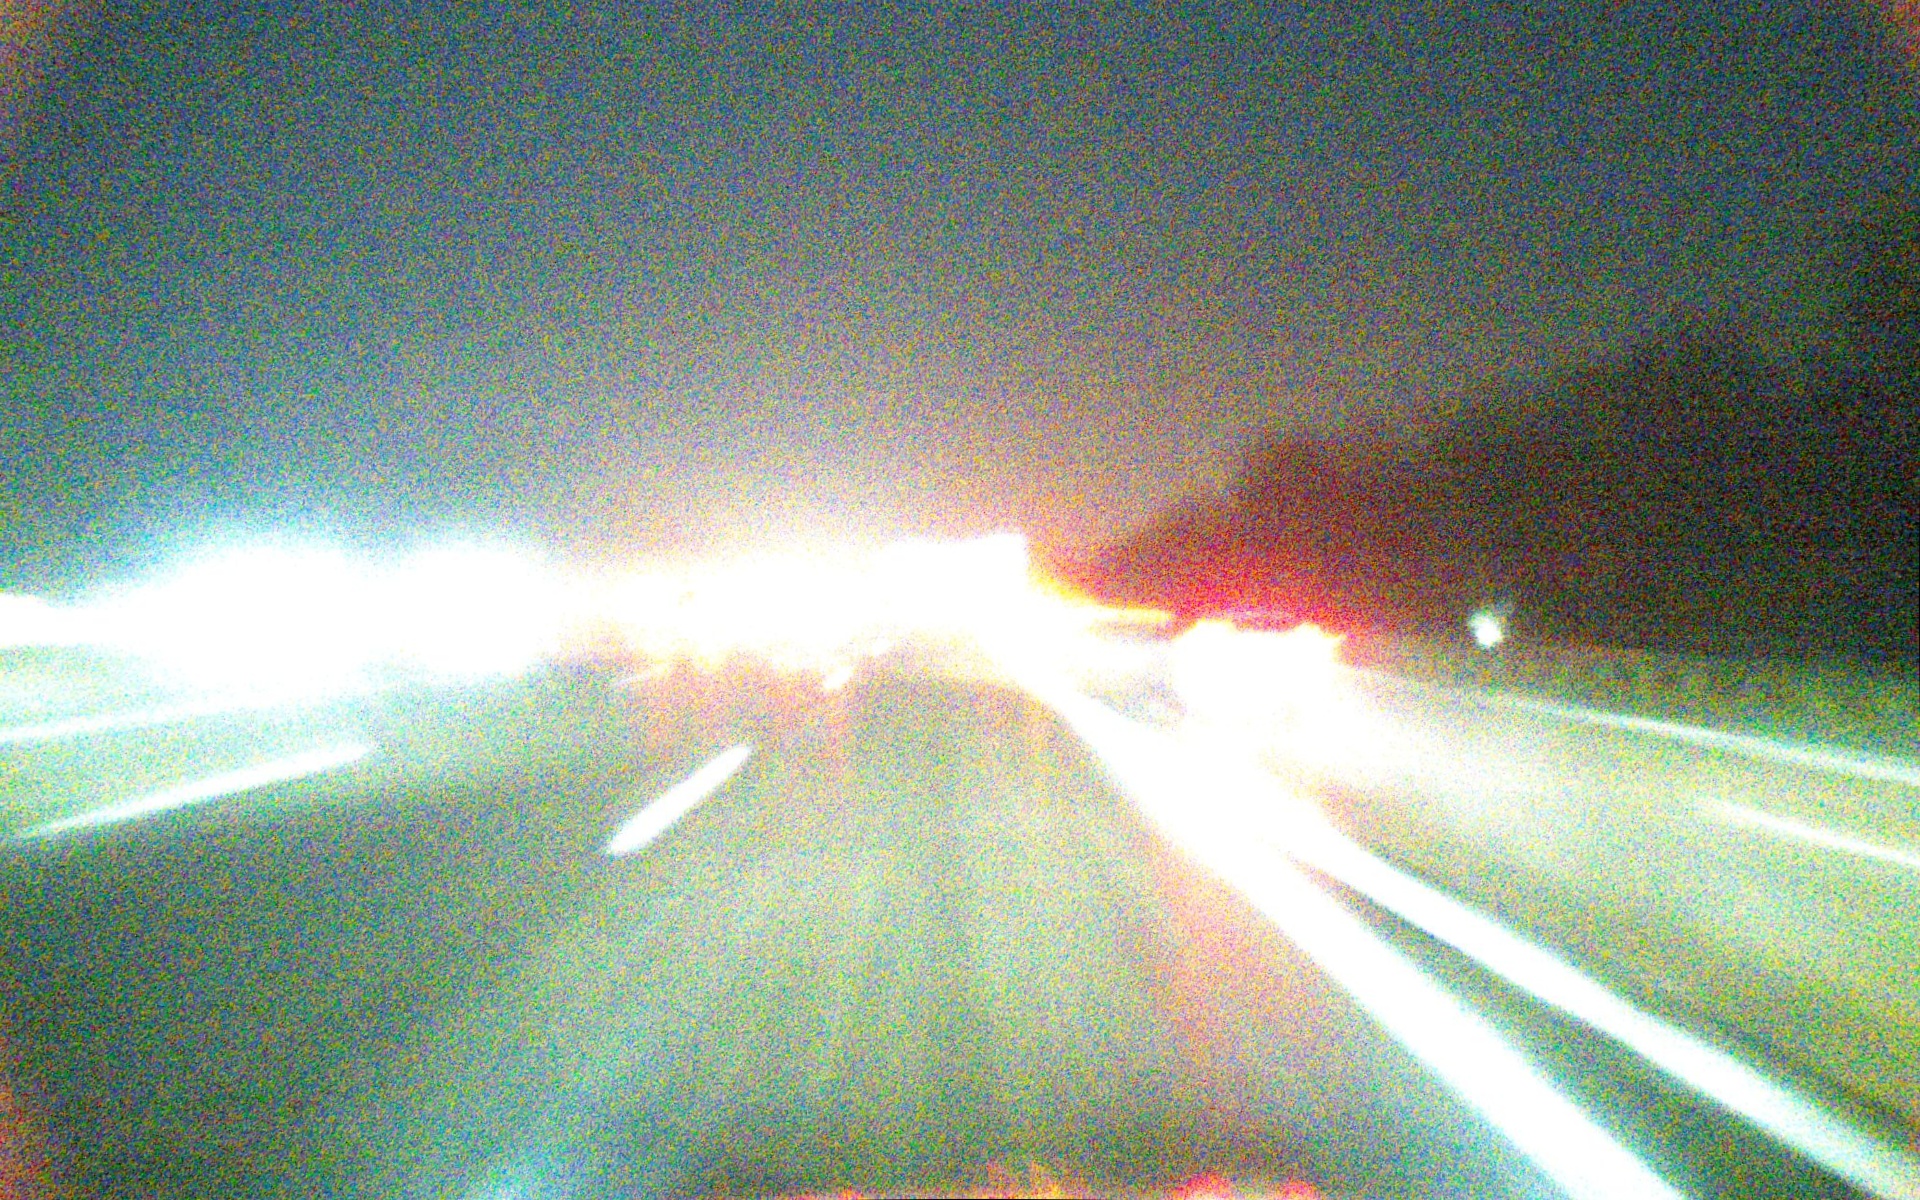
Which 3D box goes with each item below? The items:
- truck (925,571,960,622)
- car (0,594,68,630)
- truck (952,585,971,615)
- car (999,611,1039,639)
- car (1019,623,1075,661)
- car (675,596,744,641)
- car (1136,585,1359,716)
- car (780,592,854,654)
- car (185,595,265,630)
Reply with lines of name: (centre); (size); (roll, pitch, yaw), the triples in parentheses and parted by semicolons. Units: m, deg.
truck: (-1.088, -0.194, 107.931); (1.953, 3.096, 6.465); (-3, -1, 1)
car: (-44.894, 0.556, 79.102); (1.951, 1.706, 4.177); (0, 0, 6)
truck: (0.180, 0.017, 183.542); (1.953, 3.096, 6.465); (-3, -1, 1)
car: (2.777, 1.184, 77.894); (1.550, 1.268, 3.066); (1, -1, -4)
car: (2.979, 1.441, 57.070); (1.550, 1.268, 3.066); (1, -1, -4)
car: (-7.712, 0.606, 51.139); (1.629, 1.258, 3.759); (-3, -1, -2)
car: (3.738, 0.601, 22.442); (2.016, 1.545, 5.014); (1, 0, -2)
car: (-3.702, 0.554, 43.308); (1.766, 1.513, 3.998); (1, 0, -3)
car: (-39.339, 0.641, 88.608); (1.951, 1.802, 4.572); (0, 0, 5)
